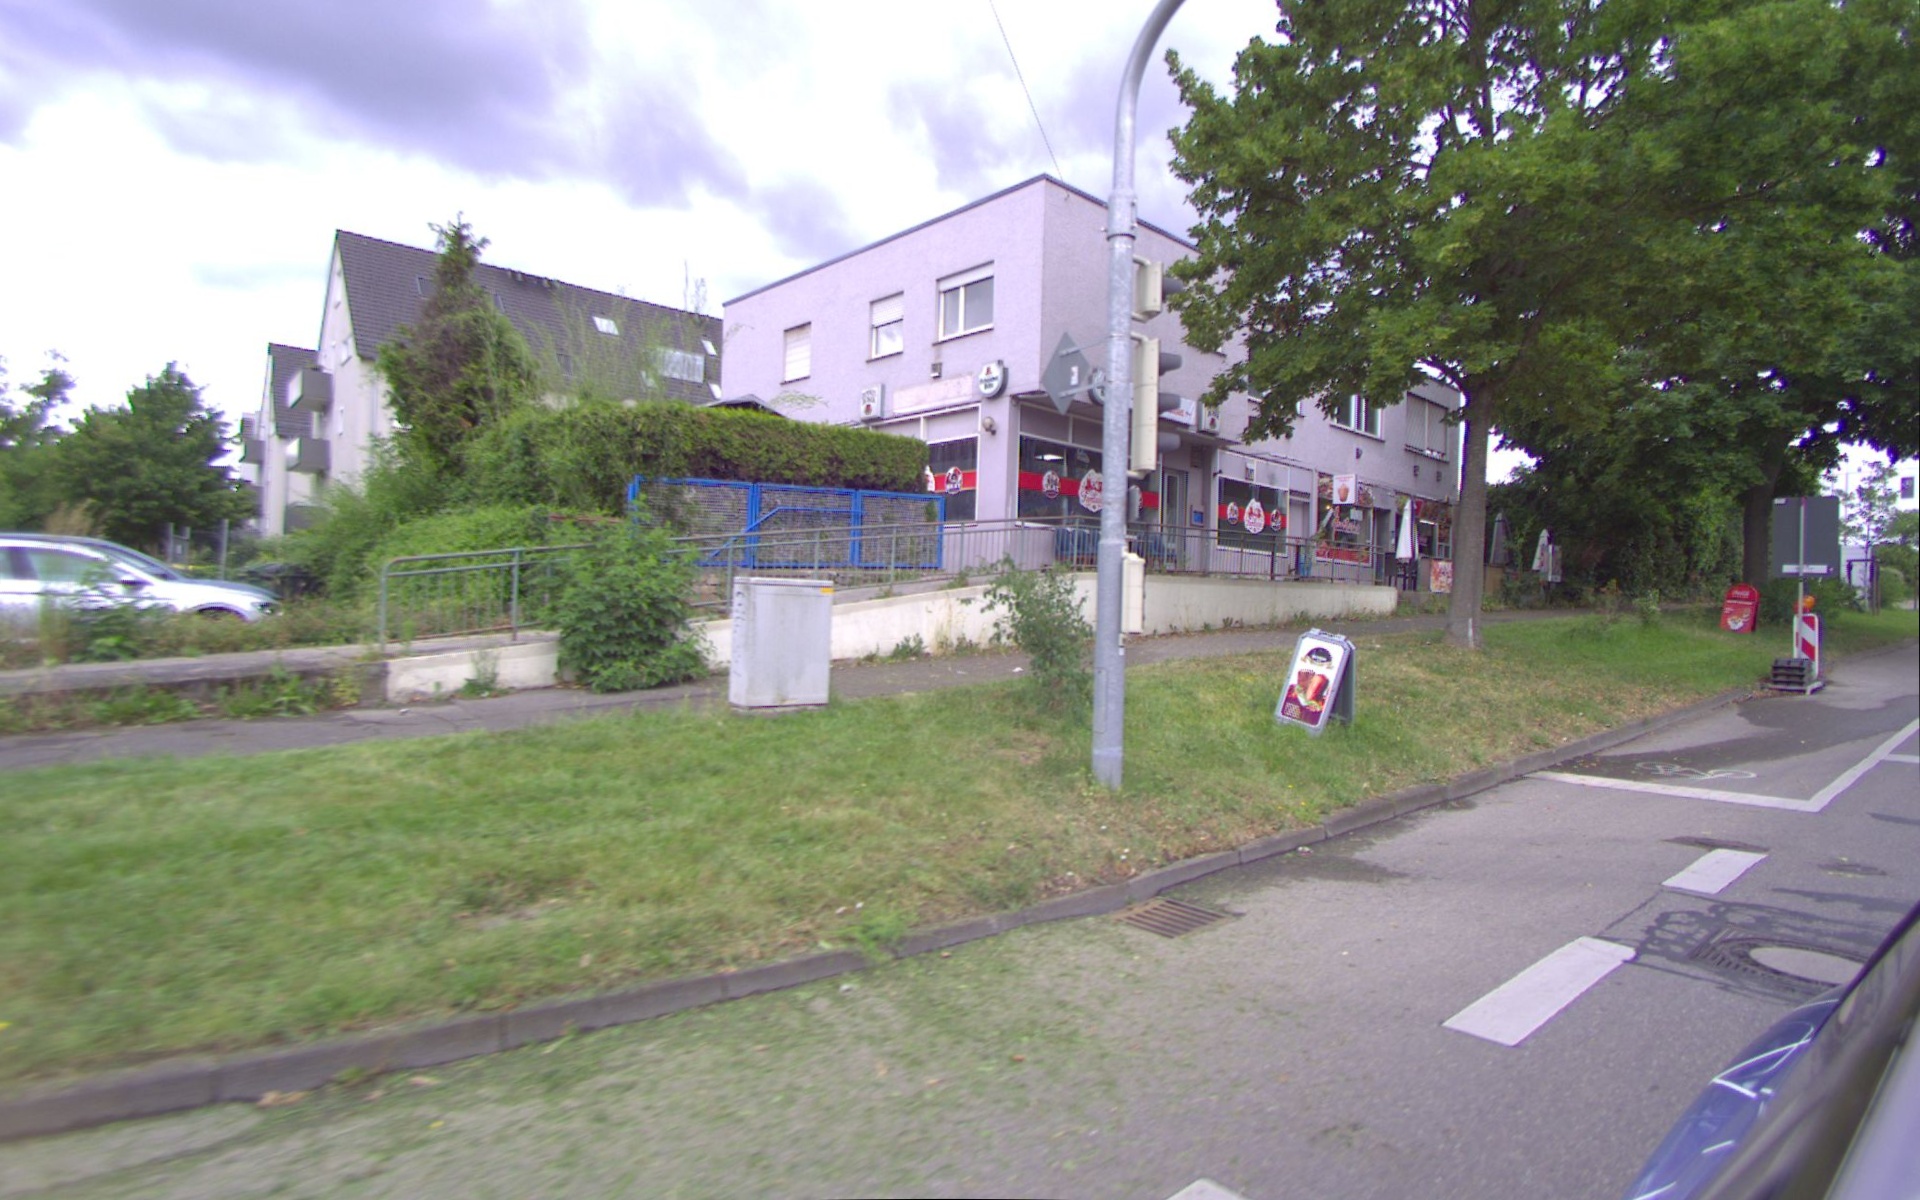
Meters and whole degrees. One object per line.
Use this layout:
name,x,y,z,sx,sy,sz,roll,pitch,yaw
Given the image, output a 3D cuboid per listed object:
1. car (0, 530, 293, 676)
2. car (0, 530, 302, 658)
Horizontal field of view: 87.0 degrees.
car,-10.257,0.022,11.214,4.535,1.482,1.995,-1,1,-44
car,-11.716,-0.081,13.613,4.535,1.552,1.995,-1,1,-44
